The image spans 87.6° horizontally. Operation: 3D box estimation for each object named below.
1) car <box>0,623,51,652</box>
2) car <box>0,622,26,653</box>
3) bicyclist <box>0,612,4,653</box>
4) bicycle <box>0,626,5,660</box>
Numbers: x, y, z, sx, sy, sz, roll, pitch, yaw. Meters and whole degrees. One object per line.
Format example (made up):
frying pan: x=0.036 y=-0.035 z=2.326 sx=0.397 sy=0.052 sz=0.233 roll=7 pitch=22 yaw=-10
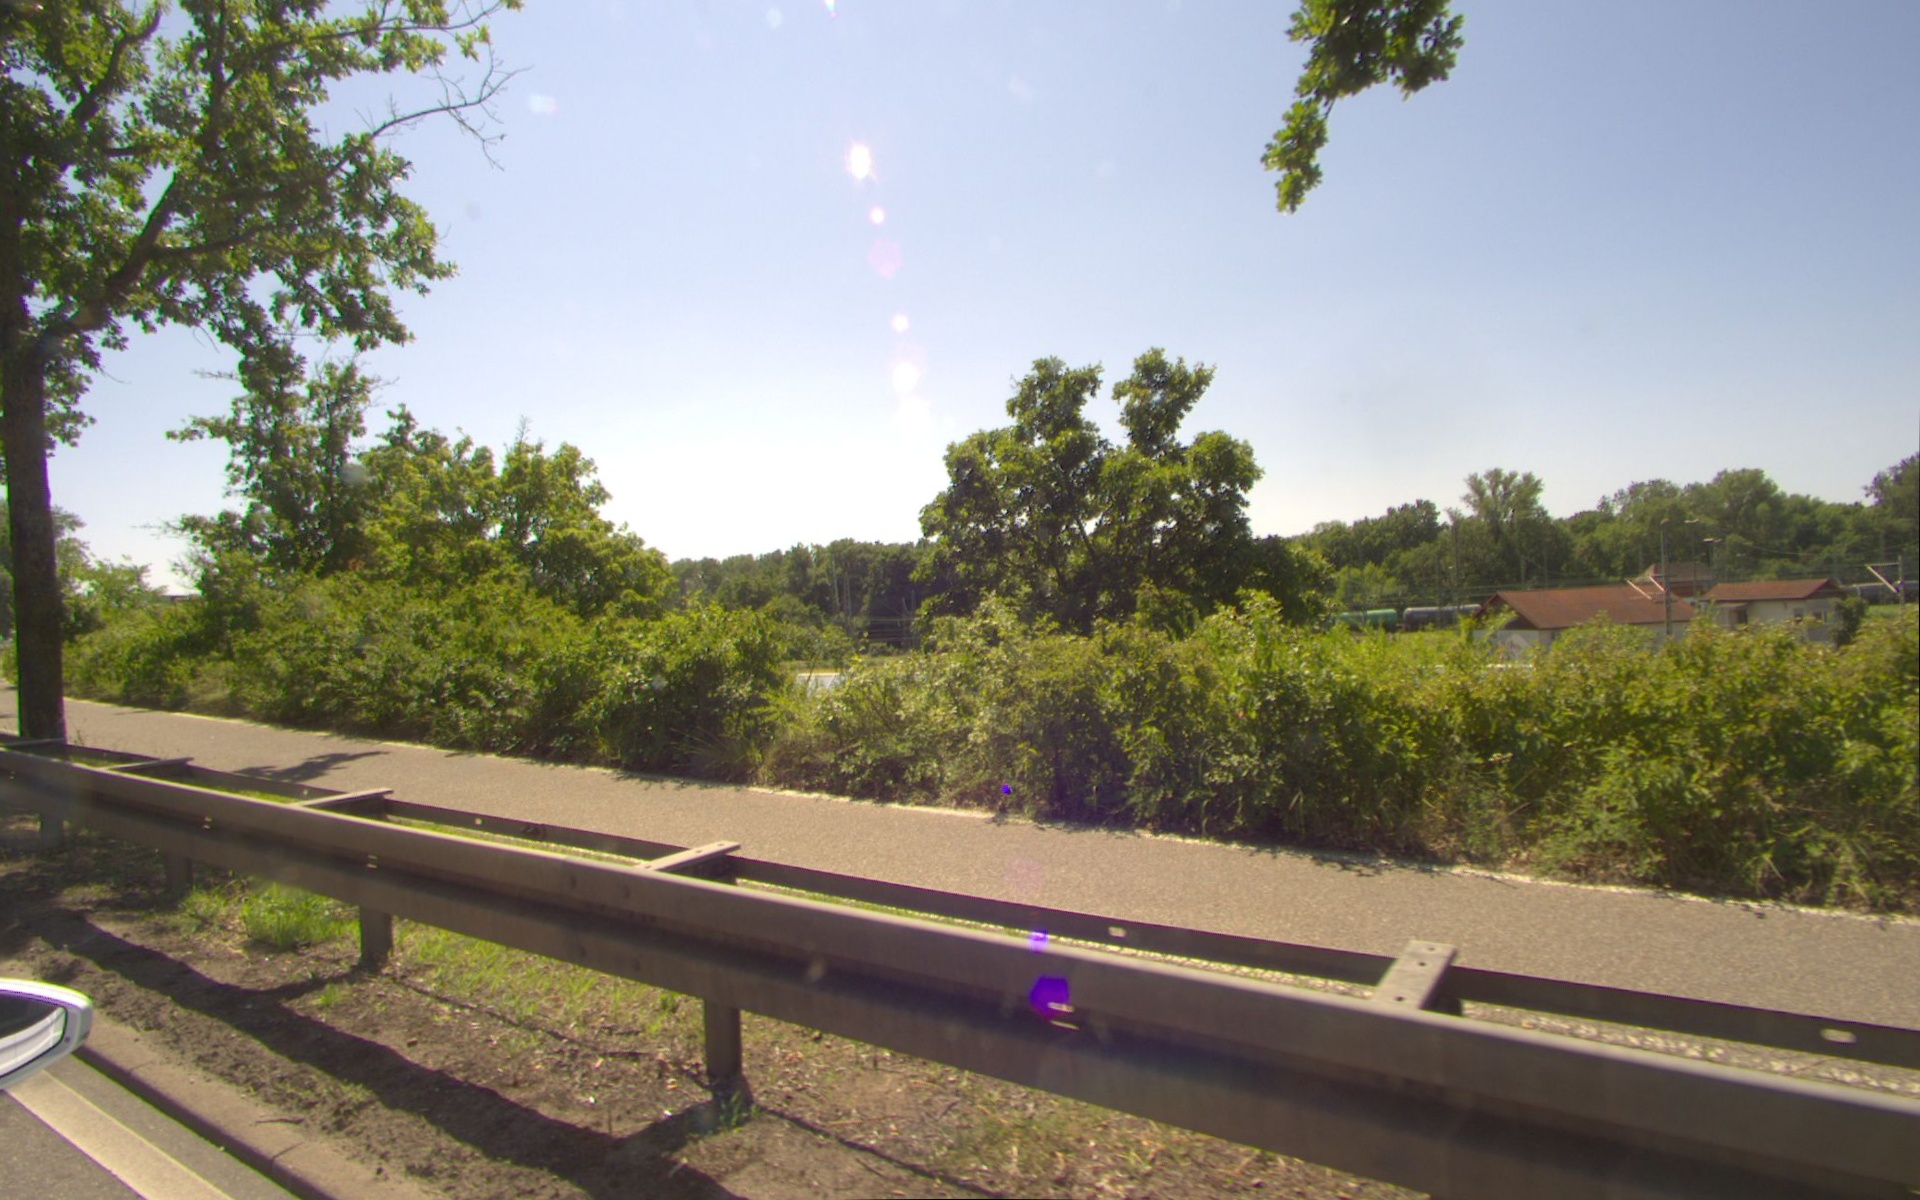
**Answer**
car: x=-59.565 y=2.351 z=63.564 sx=1.973 sy=1.790 sz=4.727 roll=1 pitch=-2 yaw=-33
car: x=-55.775 y=2.163 z=57.733 sx=1.973 sy=1.739 sz=4.840 roll=1 pitch=-2 yaw=-33
bicyclist: x=-37.095 y=1.239 z=38.230 sx=0.970 sy=1.543 sz=0.855 roll=-1 pitch=-1 yaw=45
bicycle: x=-37.146 y=1.643 z=38.291 sx=0.855 sy=1.252 sz=2.286 roll=1 pitch=-2 yaw=-45
